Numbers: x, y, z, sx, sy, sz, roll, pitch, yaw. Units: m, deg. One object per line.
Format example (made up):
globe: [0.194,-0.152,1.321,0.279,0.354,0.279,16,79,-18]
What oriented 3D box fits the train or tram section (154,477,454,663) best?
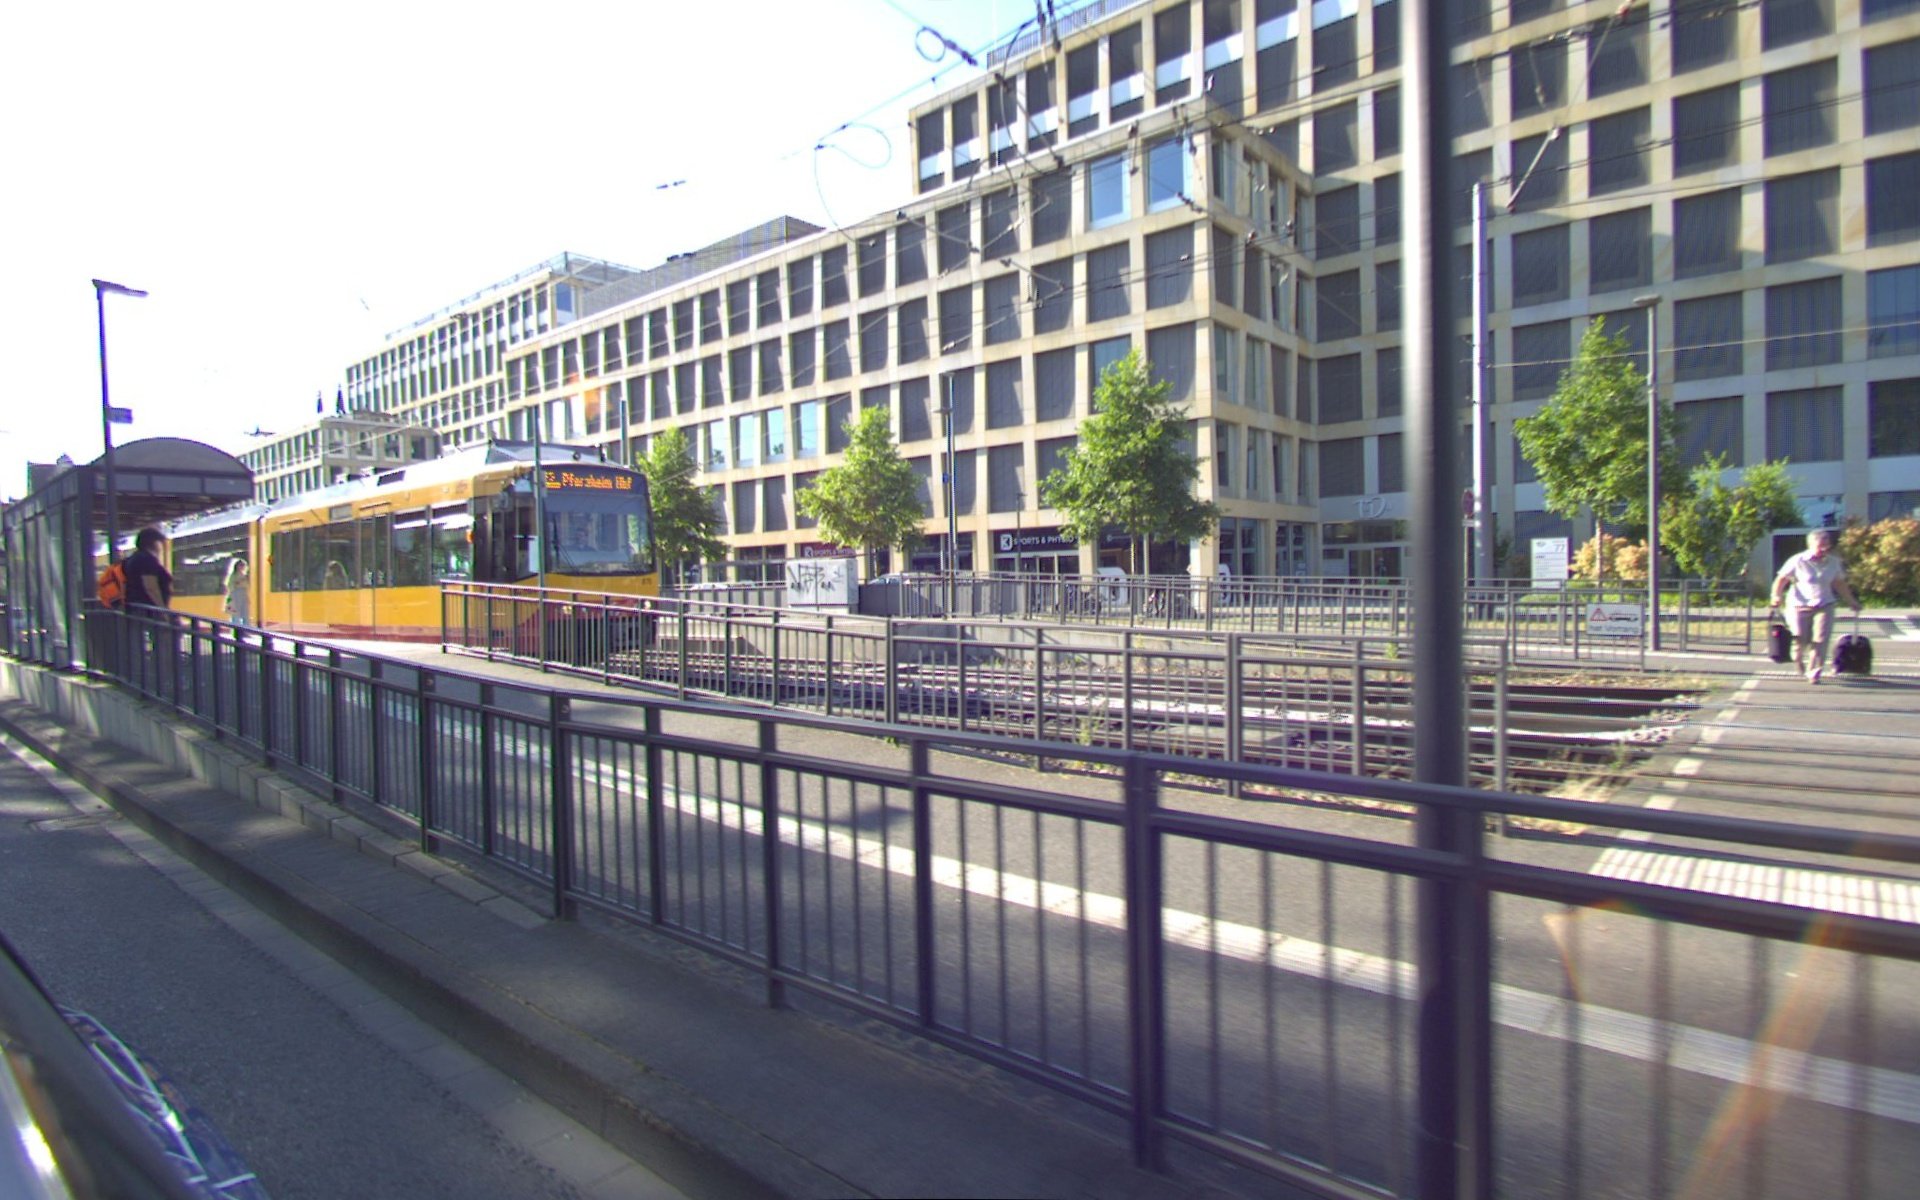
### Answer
train or tram section: [-17.381,-0.624,26.222,11.836,3.858,3.275,-1,1,41]

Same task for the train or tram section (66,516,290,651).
train or tram section: [-27.278,-0.467,34.811,14.211,3.858,3.275,-1,1,41]

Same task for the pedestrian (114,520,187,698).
pedestrian: [-8.195,0.084,10.239,0.665,1.729,0.407,-1,1,41]

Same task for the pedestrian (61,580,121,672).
pedestrian: [-12.767,0.370,14.869,0.500,1.302,0.561,-1,2,41]

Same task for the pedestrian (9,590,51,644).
pedestrian: [-31.563,0.567,34.346,0.640,1.797,0.795,-2,1,1]

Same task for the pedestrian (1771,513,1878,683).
pedestrian: [9.212,-0.029,10.788,0.660,1.729,0.726,-3,1,-37]

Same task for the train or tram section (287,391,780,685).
train or tram section: [-8.388,-0.808,18.407,11.836,3.858,3.275,-1,1,41]
